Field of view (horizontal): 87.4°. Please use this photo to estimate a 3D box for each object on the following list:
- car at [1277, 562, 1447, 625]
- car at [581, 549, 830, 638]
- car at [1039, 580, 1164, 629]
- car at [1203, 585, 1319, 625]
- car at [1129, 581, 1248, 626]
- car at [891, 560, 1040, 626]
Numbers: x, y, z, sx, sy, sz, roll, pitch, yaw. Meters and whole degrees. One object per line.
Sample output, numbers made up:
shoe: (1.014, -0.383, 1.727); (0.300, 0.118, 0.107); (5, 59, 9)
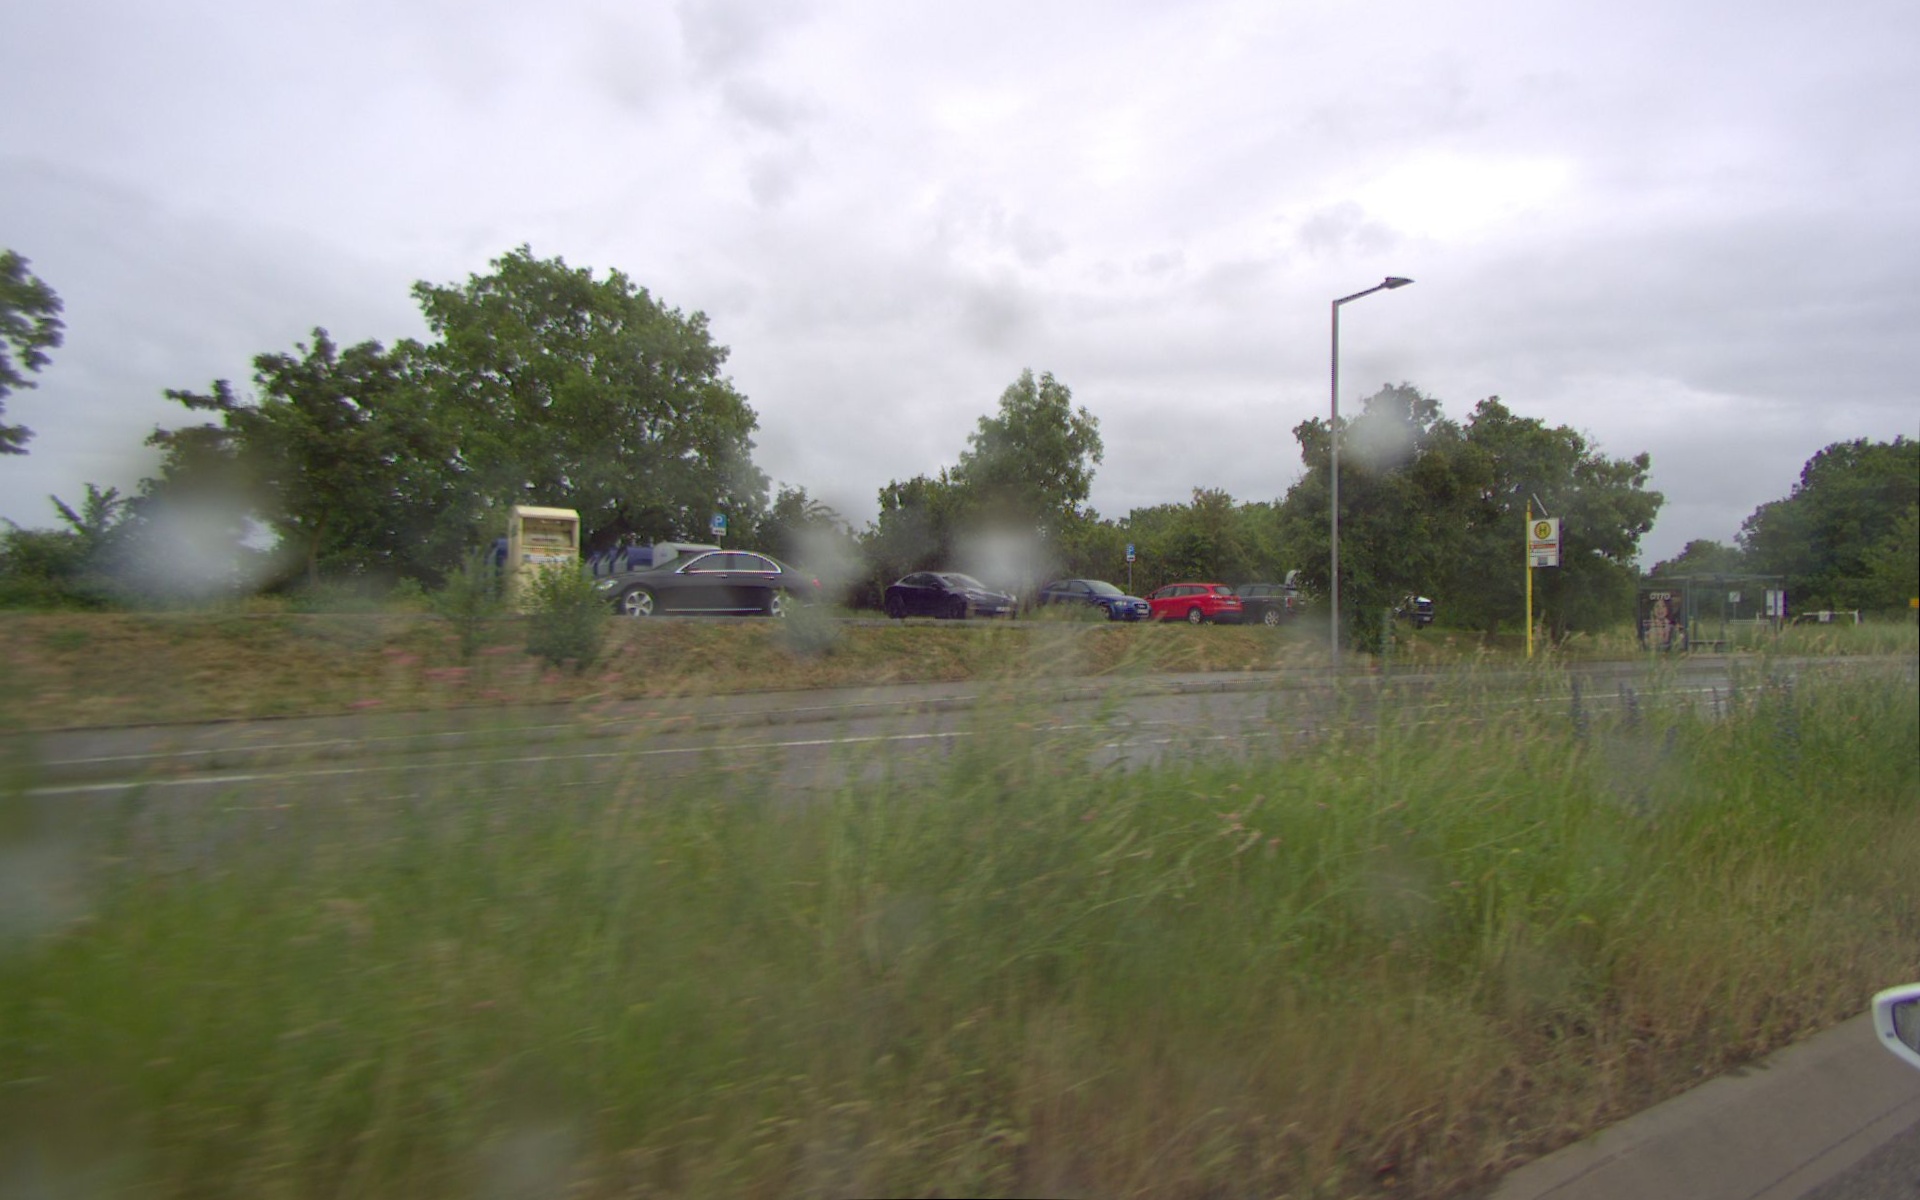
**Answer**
car: (16.829, -0.283, 42.486); (2.120, 2.429, 6.507); (3, -1, -37)
car: (-4.976, -0.158, 19.905); (4.496, 1.589, 1.680); (0, 2, -35)
car: (4.448, 0.110, 32.156); (1.878, 1.382, 3.966); (1, 1, -31)
car: (11.084, 0.211, 37.223); (1.827, 1.382, 3.966); (1, -1, -31)
car: (8.089, 0.150, 35.876); (1.829, 1.488, 3.961); (1, -1, -35)
car: (0.059, -0.198, 28.588); (1.984, 1.716, 4.677); (1, 0, -33)
